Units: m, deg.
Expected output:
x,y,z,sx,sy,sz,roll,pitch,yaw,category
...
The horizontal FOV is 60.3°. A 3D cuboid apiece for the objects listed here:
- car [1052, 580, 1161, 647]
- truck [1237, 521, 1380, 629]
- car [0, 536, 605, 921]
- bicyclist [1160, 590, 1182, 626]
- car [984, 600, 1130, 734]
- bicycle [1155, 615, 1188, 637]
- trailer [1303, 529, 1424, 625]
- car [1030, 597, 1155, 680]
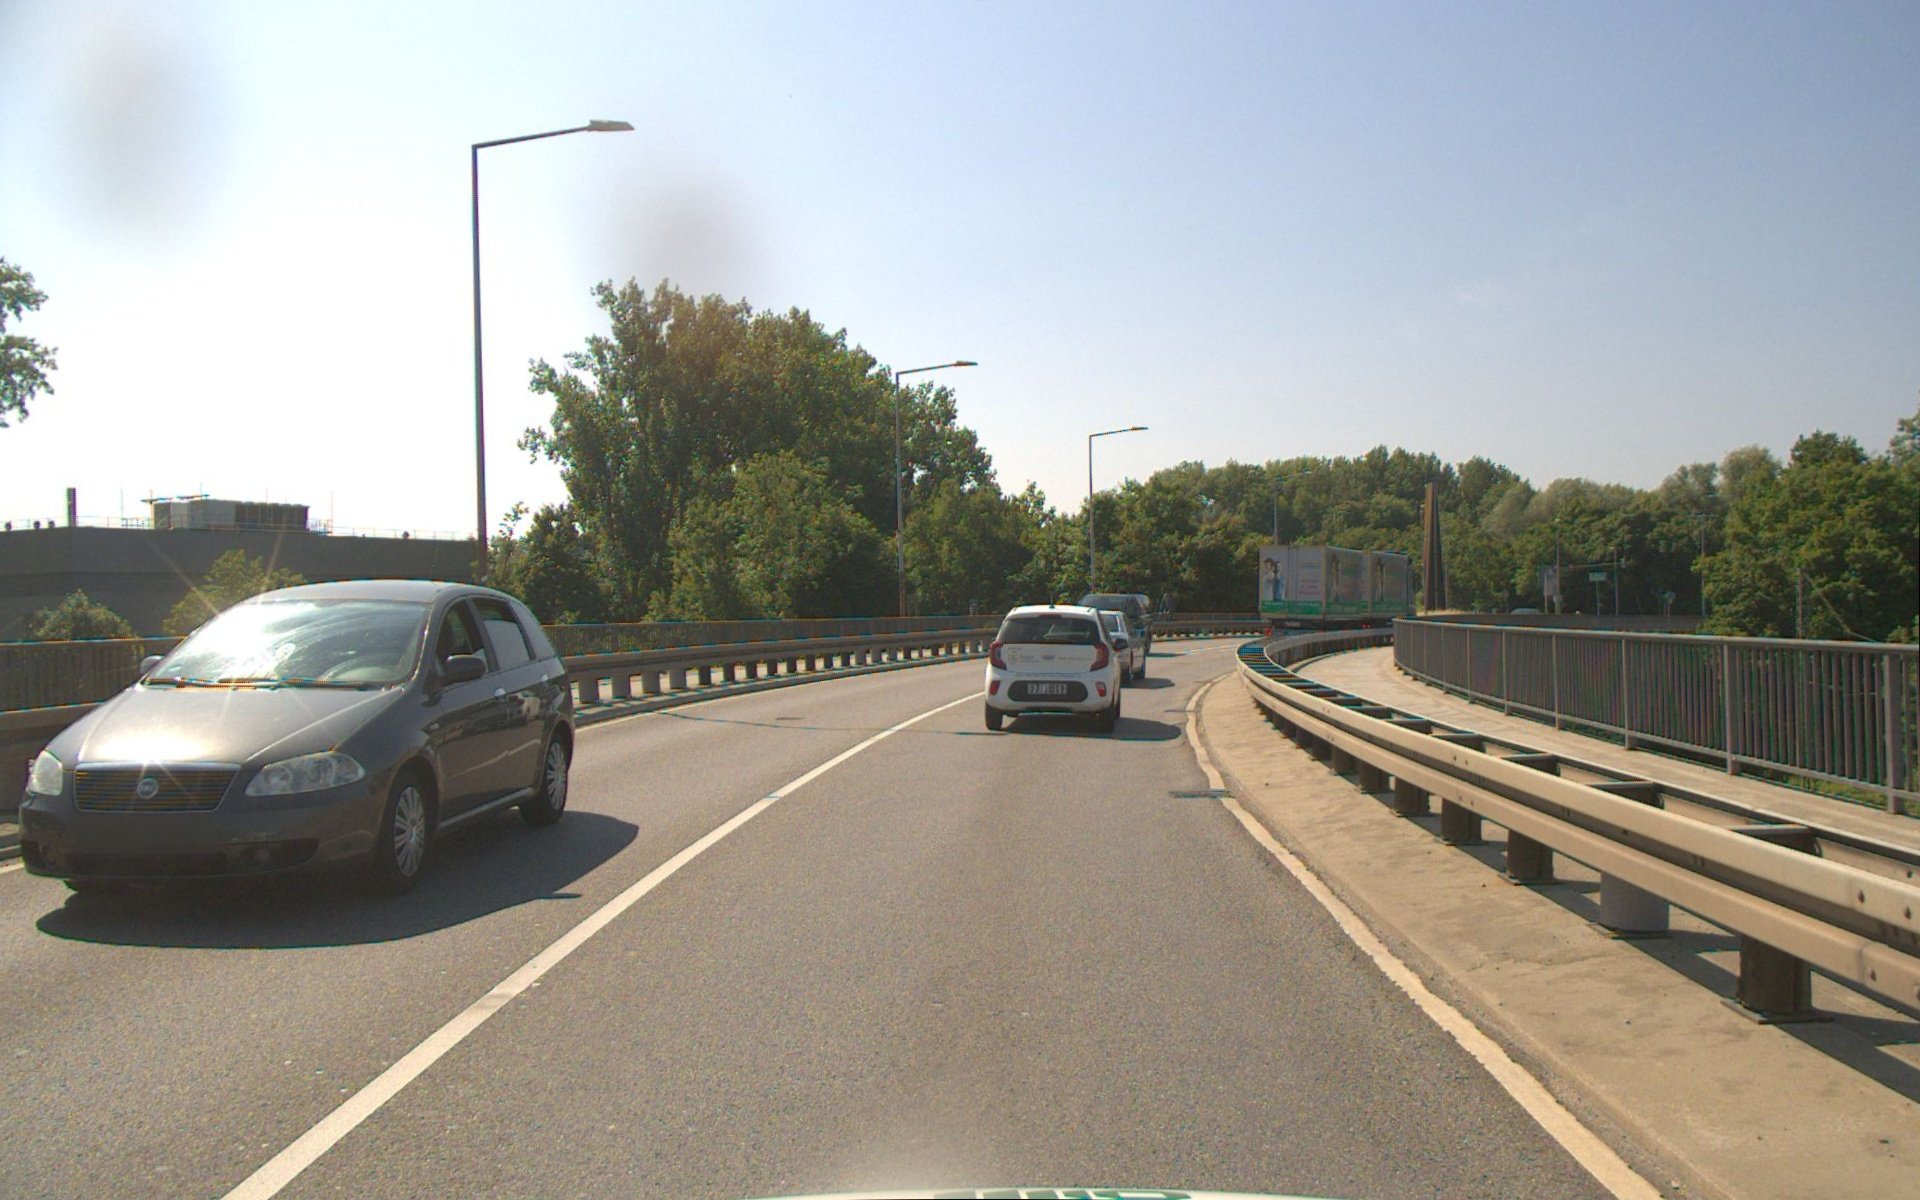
x,y,z,sx,sy,sz,roll,pitch,yaw,category
4.689,0.404,51.997,2.032,1.921,5.917,2,0,19,car
13.563,-0.941,63.786,3.198,3.823,8.361,3,1,27,truck
-3.471,0.551,9.523,1.696,1.653,4.305,2,0,2,car
9.299,0.357,72.891,0.647,1.522,1.015,1,2,26,bicyclist
1.274,0.792,21.472,1.666,1.520,4.002,2,0,4,car
9.339,1.155,72.992,0.910,0.906,1.967,1,1,23,bicycle
17.562,-0.964,71.594,3.163,3.823,7.814,3,1,27,trailer
2.758,0.717,33.366,1.897,1.512,4.904,1,0,12,car
